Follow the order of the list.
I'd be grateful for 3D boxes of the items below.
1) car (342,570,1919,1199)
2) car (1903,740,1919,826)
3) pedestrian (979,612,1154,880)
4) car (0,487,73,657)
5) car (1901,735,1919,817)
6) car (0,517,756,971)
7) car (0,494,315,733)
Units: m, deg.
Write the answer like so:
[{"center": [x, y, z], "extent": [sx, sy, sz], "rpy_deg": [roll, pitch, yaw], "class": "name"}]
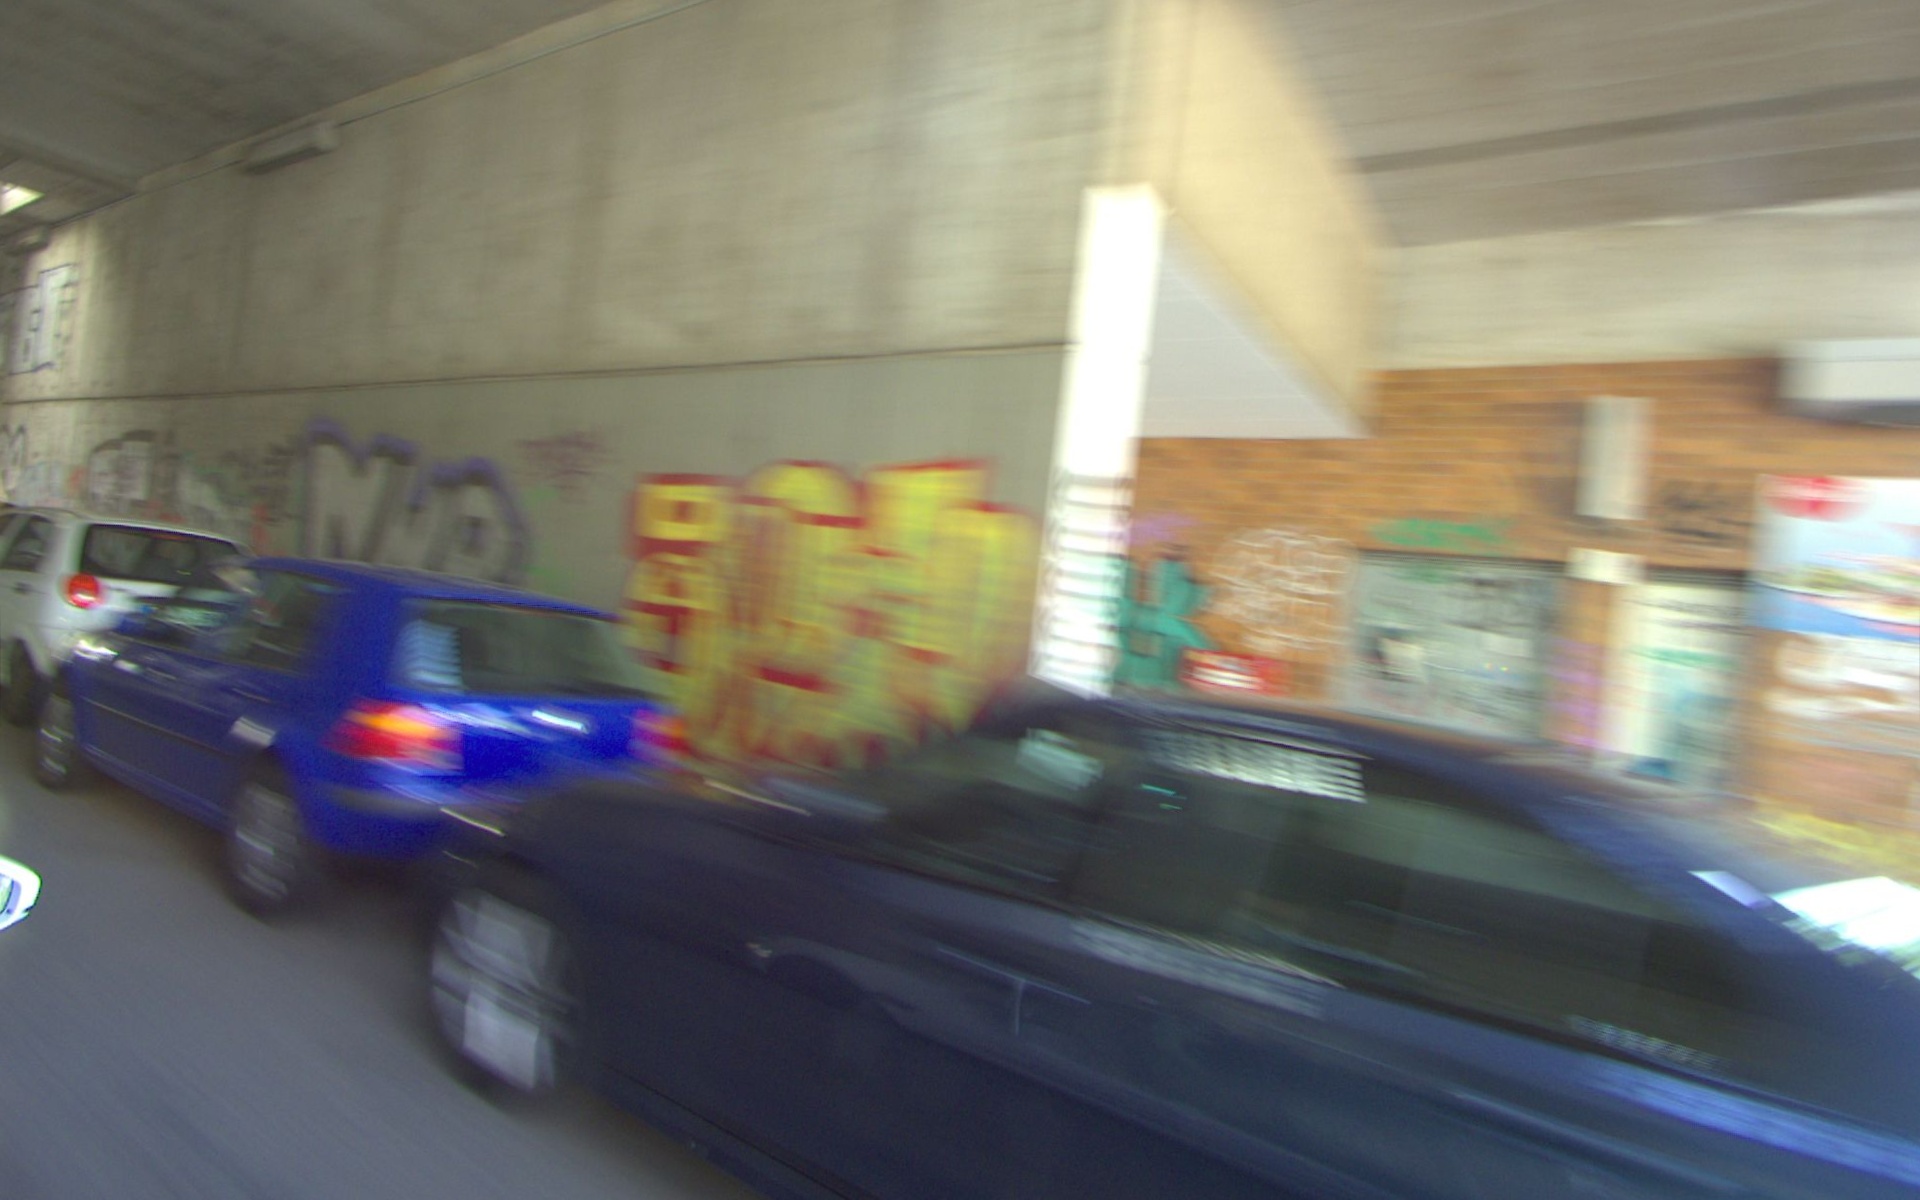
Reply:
[{"center": [0.420, 0.904, 2.736], "extent": [4.536, 1.449, 1.854], "rpy_deg": [5, -3, 36], "class": "car"}, {"center": [19.589, 3.581, 17.708], "extent": [3.933, 1.569, 1.767], "rpy_deg": [6, -1, 31], "class": "car"}, {"center": [0.782, 1.019, 7.295], "extent": [0.745, 1.720, 0.795], "rpy_deg": [9, 1, 33], "class": "pedestrian"}, {"center": [-10.899, -0.471, 10.104], "extent": [4.086, 1.564, 1.732], "rpy_deg": [6, -1, 31], "class": "car"}, {"center": [21.316, 3.776, 19.575], "extent": [3.933, 1.626, 1.839], "rpy_deg": [6, -1, 31], "class": "car"}, {"center": [-3.213, 0.482, 5.304], "extent": [3.998, 1.427, 1.763], "rpy_deg": [6, -1, 33], "class": "car"}, {"center": [-7.047, 0.012, 8.037], "extent": [3.576, 1.505, 1.606], "rpy_deg": [6, -1, 30], "class": "car"}]
